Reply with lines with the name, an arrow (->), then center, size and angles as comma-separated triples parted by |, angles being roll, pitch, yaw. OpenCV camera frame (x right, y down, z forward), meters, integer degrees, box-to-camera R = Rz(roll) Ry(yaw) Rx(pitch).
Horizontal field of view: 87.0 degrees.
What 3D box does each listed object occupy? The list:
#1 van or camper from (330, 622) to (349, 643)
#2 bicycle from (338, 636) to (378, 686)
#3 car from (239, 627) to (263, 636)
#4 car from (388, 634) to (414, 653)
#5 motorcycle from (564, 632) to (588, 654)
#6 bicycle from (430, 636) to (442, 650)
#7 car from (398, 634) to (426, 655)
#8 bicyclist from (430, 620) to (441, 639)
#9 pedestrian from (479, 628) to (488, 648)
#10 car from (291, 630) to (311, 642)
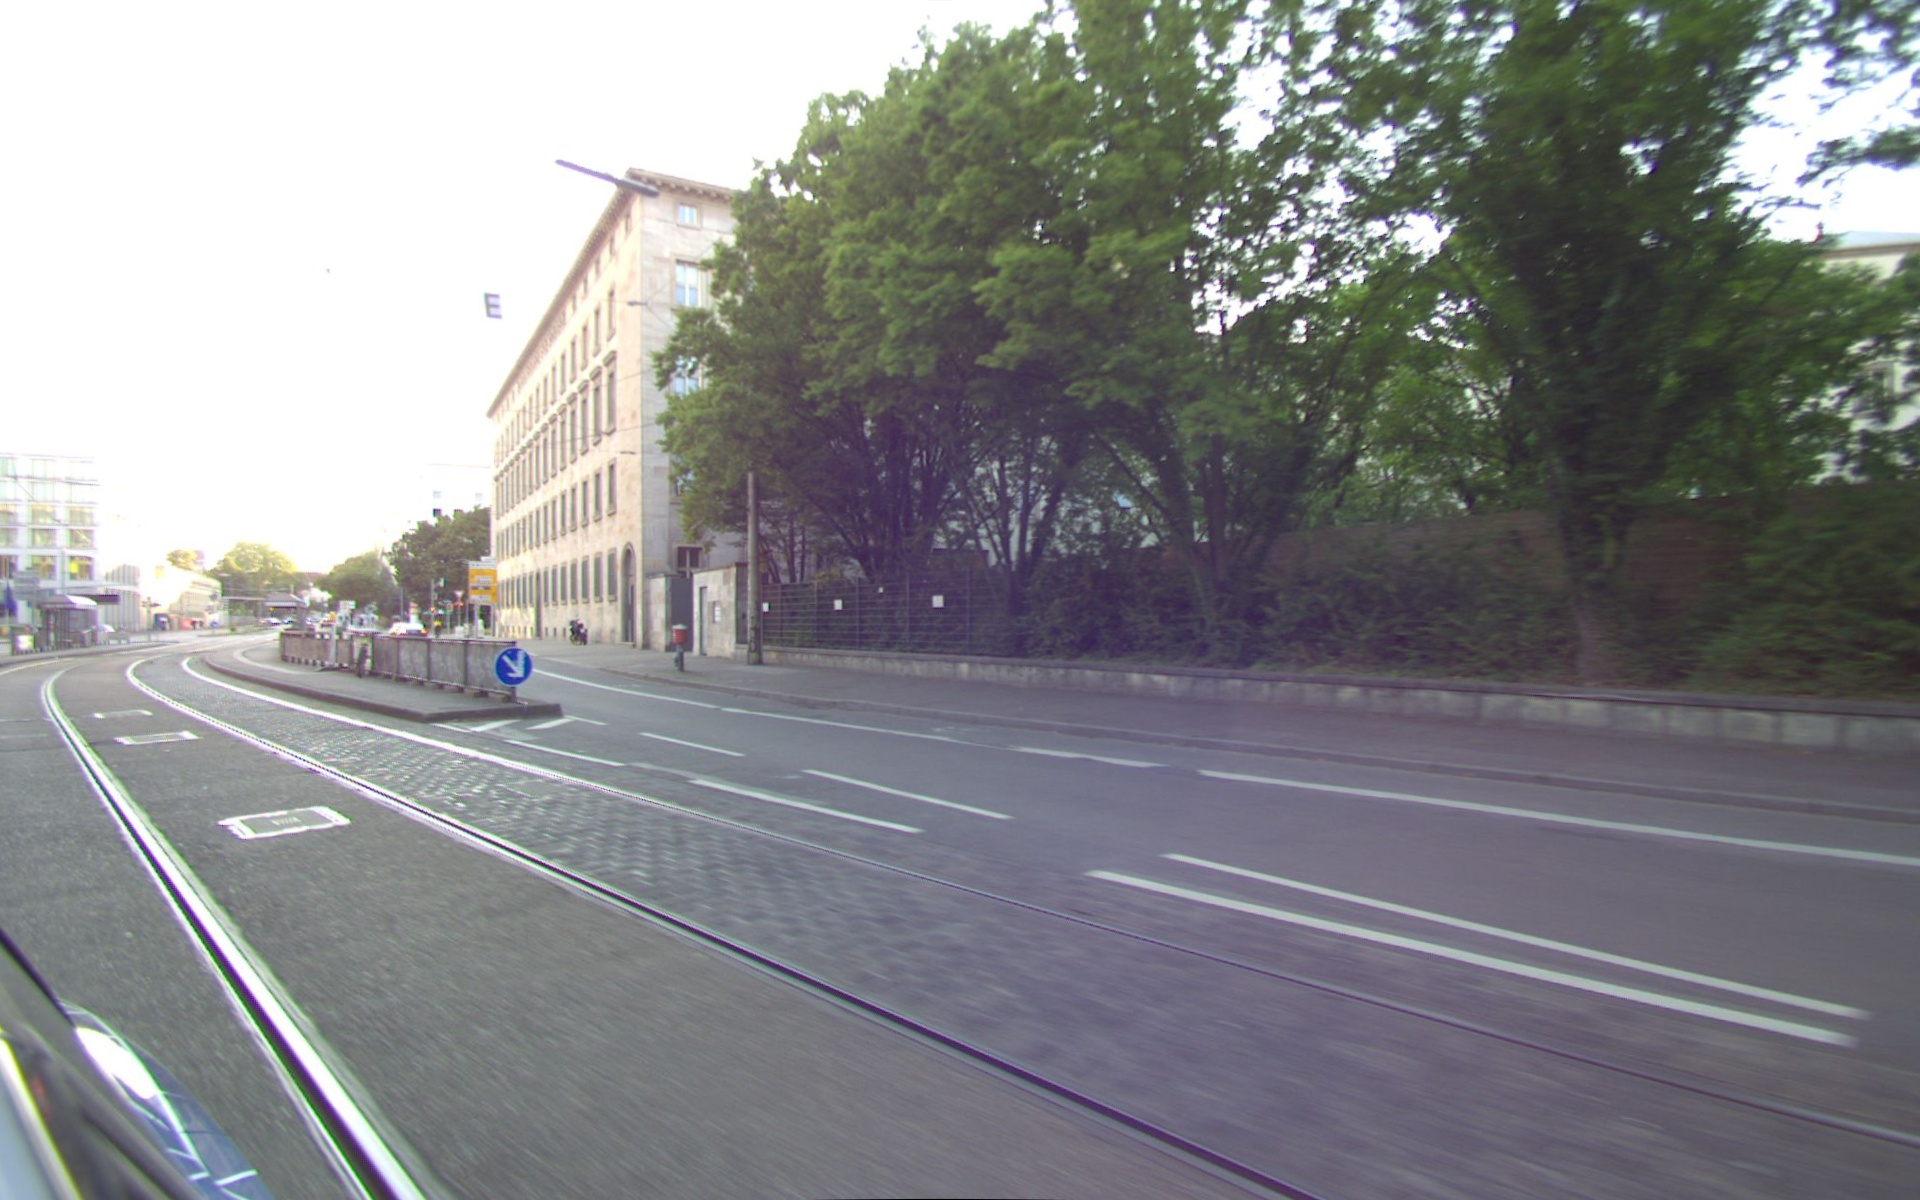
van or camper -> -89.529, 4.699, 146.012 | 2.076, 2.702, 4.724 | -1, -3, -29
bicycle -> -13.586, 1.354, 22.835 | 0.456, 1.083, 2.025 | 1, -2, -40
car -> -139.433, 6.208, 199.149 | 3.744, 1.661, 1.869 | 0, -2, -31
car -> -42.974, 3.349, 77.753 | 1.620, 1.438, 4.244 | 1, -3, -31
motorcycle -> -19.491, 2.156, 51.362 | 0.688, 1.083, 2.661 | 1, -2, -31
bicycle -> -40.779, 3.326, 78.698 | 0.731, 1.025, 1.766 | 0, -2, -30
car -> -39.217, 3.184, 72.397 | 1.620, 1.438, 3.716 | 1, -2, -31
bicyclist -> -40.932, 2.330, 78.955 | 0.745, 1.452, 0.599 | 0, -2, -30
pedestrian -> -42.566, 3.390, 90.367 | 0.686, 1.723, 0.648 | 0, -2, -28
car -> -75.849, 4.128, 116.464 | 1.669, 1.431, 4.186 | 0, -2, -30
